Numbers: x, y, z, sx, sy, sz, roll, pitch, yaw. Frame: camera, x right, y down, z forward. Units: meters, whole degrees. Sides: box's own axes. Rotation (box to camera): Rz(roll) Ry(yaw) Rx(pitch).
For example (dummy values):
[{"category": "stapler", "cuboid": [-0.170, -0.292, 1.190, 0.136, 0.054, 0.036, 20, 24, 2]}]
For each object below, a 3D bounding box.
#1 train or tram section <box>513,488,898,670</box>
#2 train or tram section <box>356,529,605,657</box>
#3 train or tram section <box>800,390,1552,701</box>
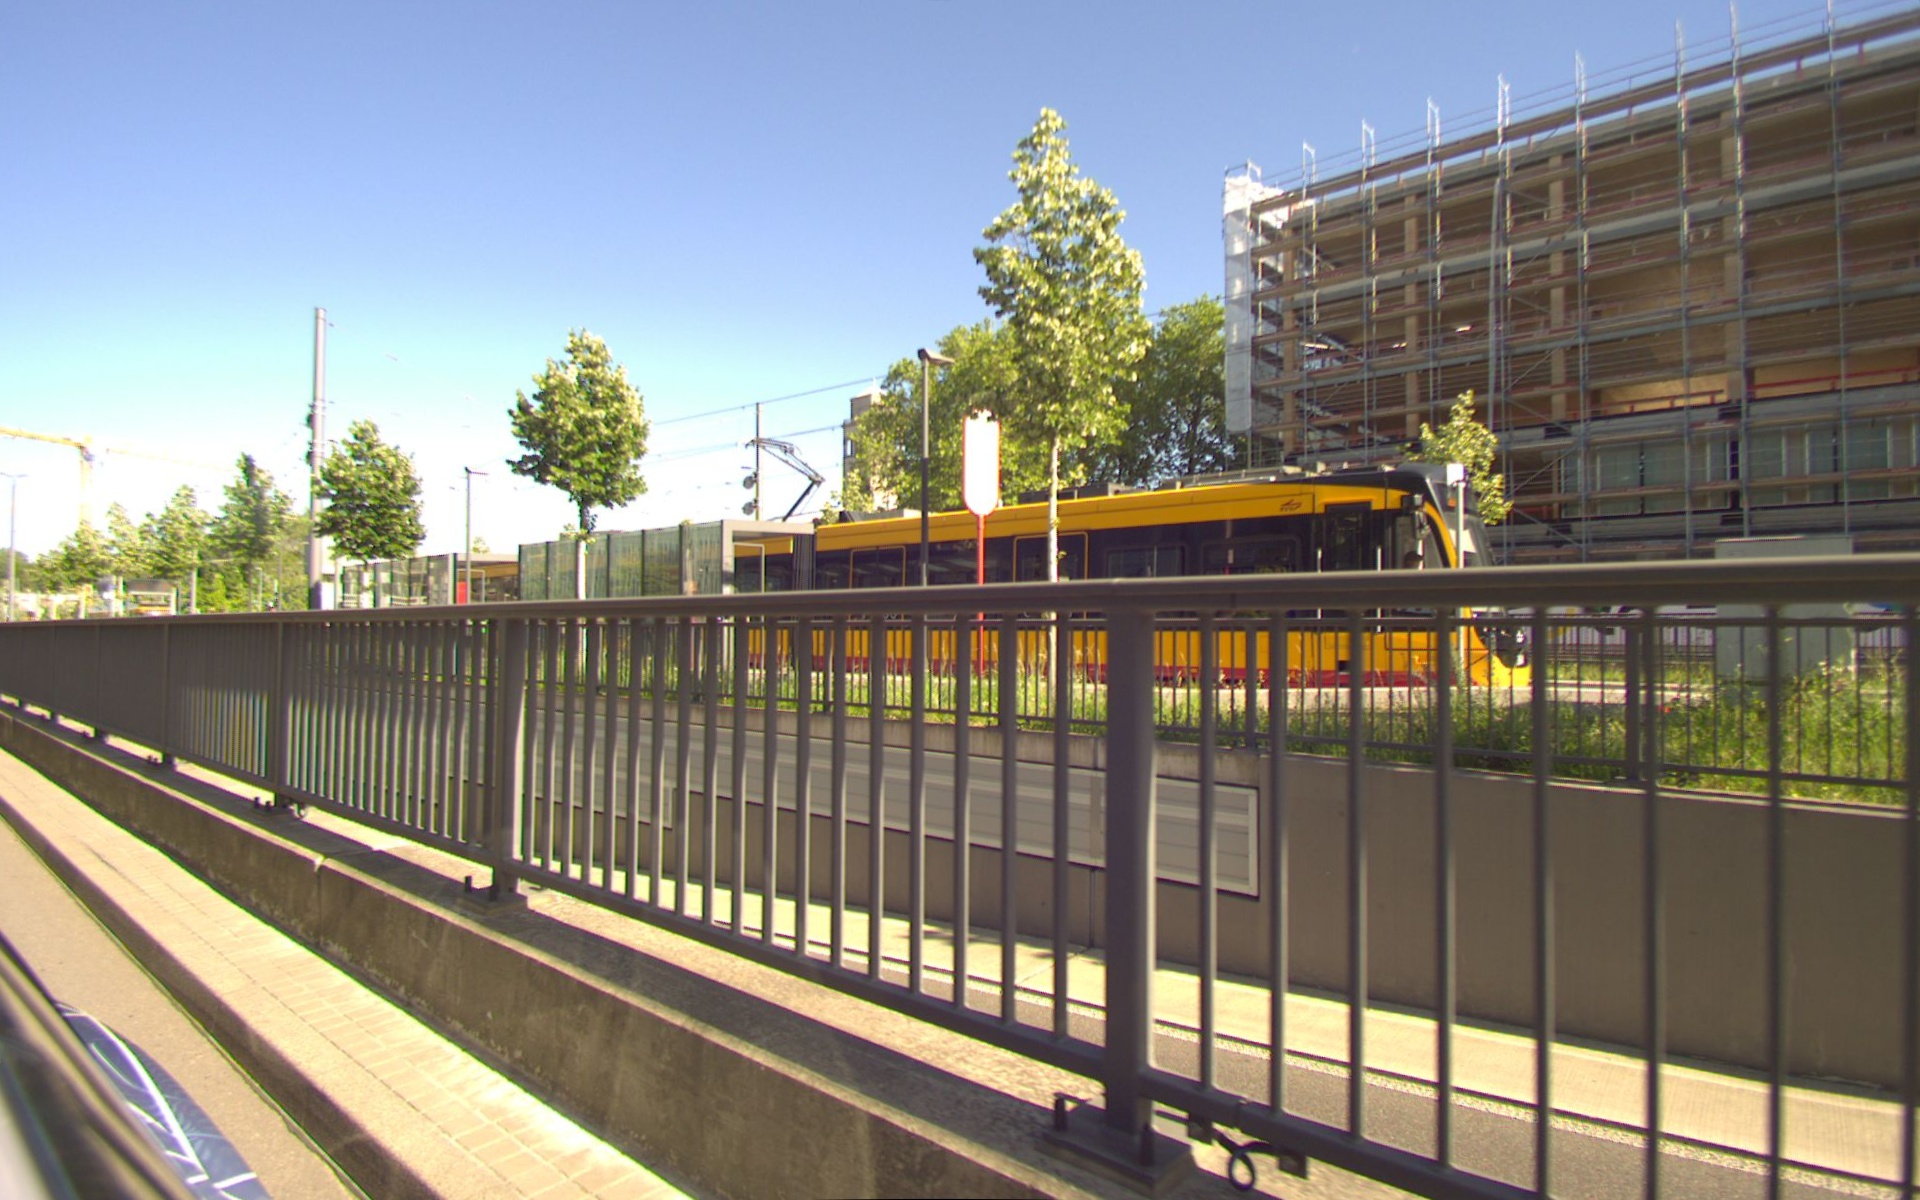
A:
[{"category": "train or tram section", "cuboid": [-7.065, -0.271, 25.728, 12.784, 3.666, 2.786, -1, -3, 42]}, {"category": "train or tram section", "cuboid": [-16.613, -0.058, 34.244, 12.784, 3.666, 2.786, -1, -3, 42]}, {"category": "train or tram section", "cuboid": [2.474, -0.493, 17.194, 12.784, 3.666, 2.786, -1, -3, 42]}]
